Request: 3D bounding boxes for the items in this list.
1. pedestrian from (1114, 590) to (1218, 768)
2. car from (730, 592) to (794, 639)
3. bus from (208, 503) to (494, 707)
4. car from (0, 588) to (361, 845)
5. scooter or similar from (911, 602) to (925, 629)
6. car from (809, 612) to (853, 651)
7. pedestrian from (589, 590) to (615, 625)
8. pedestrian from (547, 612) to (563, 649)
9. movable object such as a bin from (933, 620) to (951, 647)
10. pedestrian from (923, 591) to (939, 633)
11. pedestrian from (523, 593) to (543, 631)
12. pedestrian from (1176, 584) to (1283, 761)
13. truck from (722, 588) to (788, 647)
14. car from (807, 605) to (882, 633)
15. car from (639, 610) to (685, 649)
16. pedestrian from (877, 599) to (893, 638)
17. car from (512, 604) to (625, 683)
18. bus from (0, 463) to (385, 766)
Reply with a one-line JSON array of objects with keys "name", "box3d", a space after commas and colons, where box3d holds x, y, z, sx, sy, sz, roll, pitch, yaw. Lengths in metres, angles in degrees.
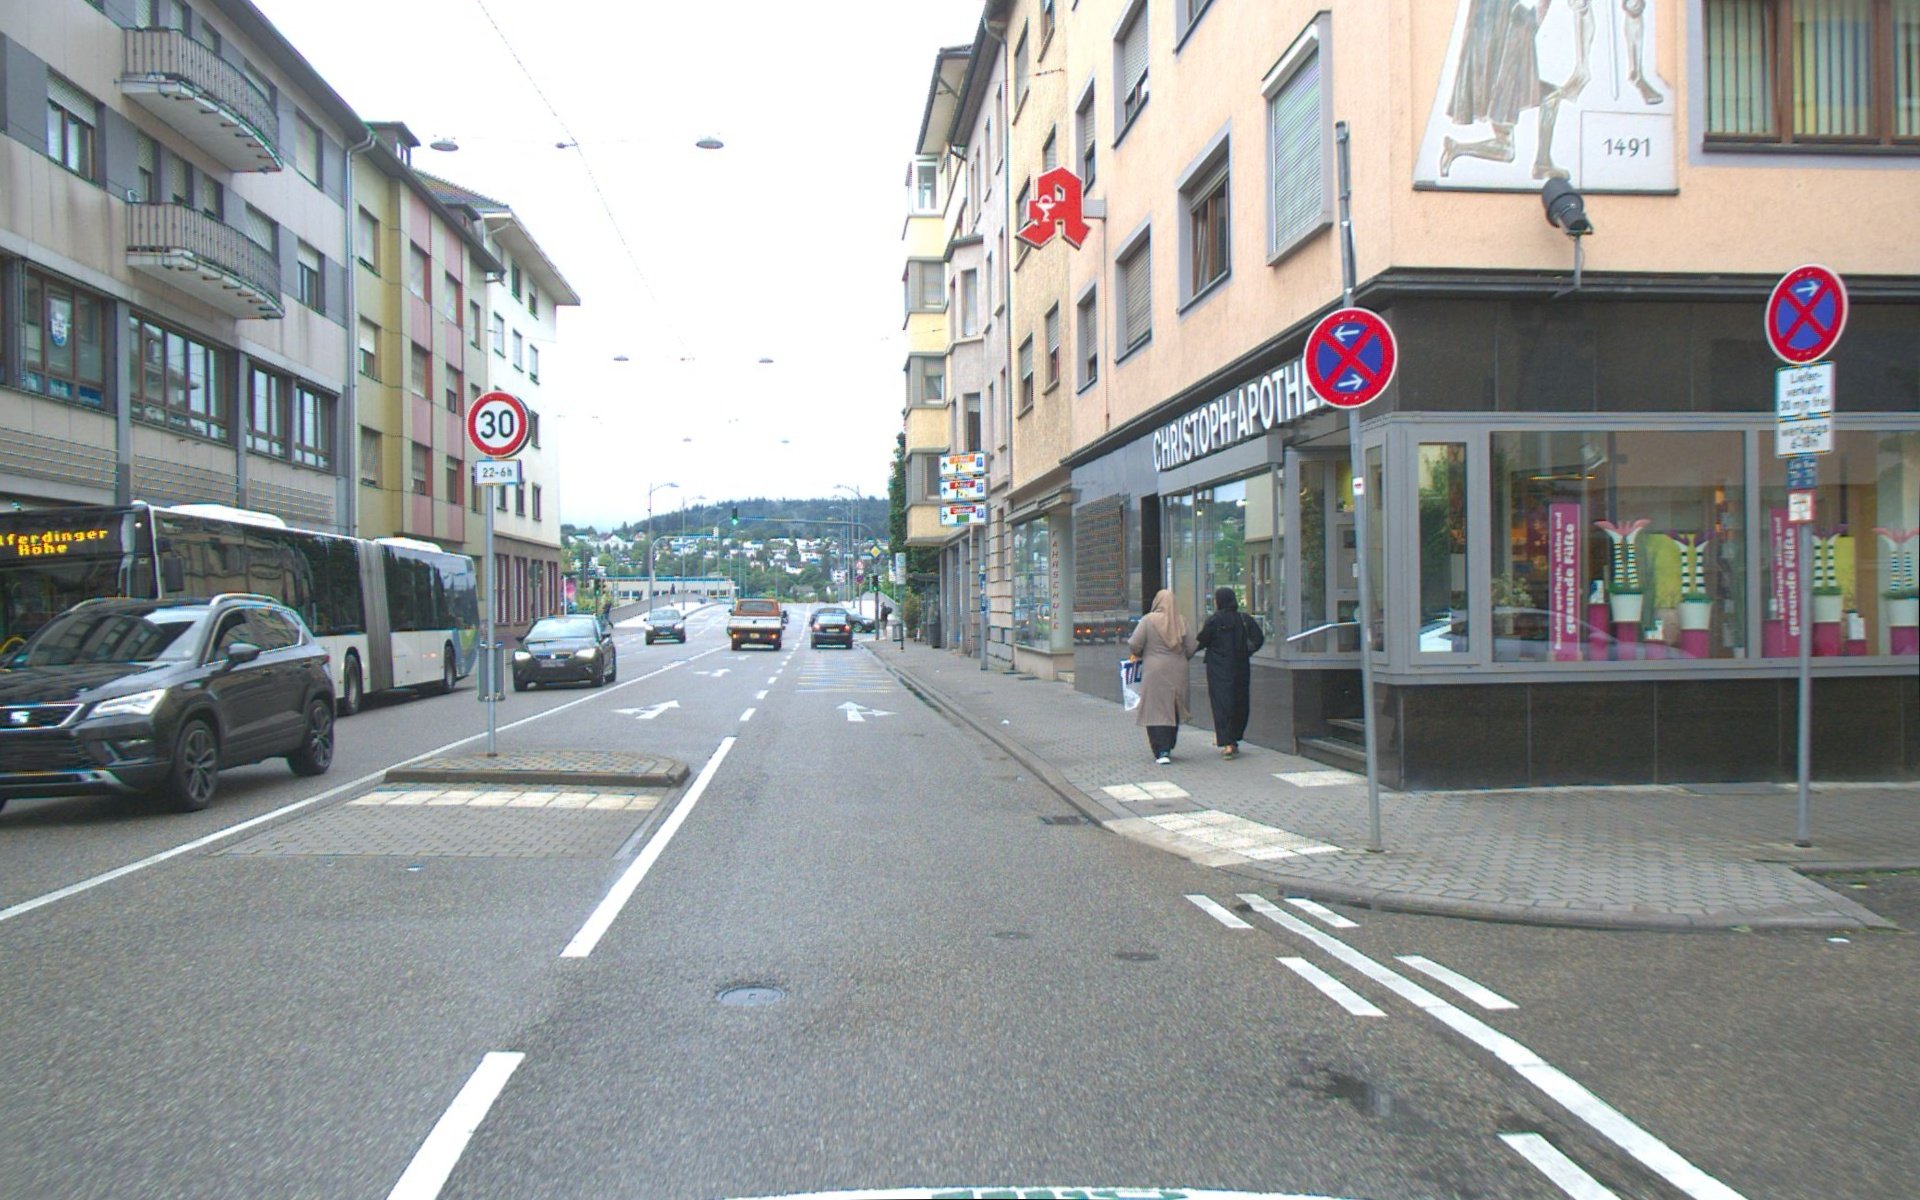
[{"name": "pedestrian", "box3d": [1.888, 0.709, 15.264, 0.763, 1.587, 0.782, -1, 0, -7]}, {"name": "car", "box3d": [-10.447, 0.816, 87.027, 1.967, 2.392, 4.972, -1, 0, -23]}, {"name": "bus", "box3d": [-11.134, 0.101, 31.346, 2.672, 3.244, 9.283, -1, 0, -5]}, {"name": "car", "box3d": [-6.421, 0.782, 13.475, 1.709, 1.691, 4.414, -1, 1, -4]}, {"name": "scooter or similar", "box3d": [-1.852, 0.676, 72.403, 0.501, 1.193, 1.547, -1, 0, -5]}, {"name": "car", "box3d": [-5.286, 1.270, 67.802, 1.720, 1.505, 3.996, -1, 0, -5]}, {"name": "pedestrian", "box3d": [-21.280, 0.455, 98.324, 0.962, 2.049, 1.174, -1, 0, 23]}, {"name": "pedestrian", "box3d": [-17.565, 1.333, 71.705, 0.564, 1.580, 0.738, -1, 0, -8]}, {"name": "movable object such as a bin", "box3d": [-0.641, 1.192, 59.602, 0.588, 0.942, 0.704, -1, 0, -5]}, {"name": "pedestrian", "box3d": [-1.179, 0.492, 67.773, 0.607, 1.729, 0.656, -1, 0, -1]}, {"name": "pedestrian", "box3d": [-18.542, 0.515, 71.845, 0.758, 1.605, 0.588, -1, 0, -6]}, {"name": "pedestrian", "box3d": [2.504, 0.660, 15.451, 0.753, 1.587, 0.875, -1, 0, -7]}, {"name": "truck", "box3d": [-7.932, 0.659, 64.492, 2.353, 2.167, 5.309, -1, 0, -5]}, {"name": "car", "box3d": [-6.825, 1.134, 97.790, 3.904, 1.579, 2.000, -1, 0, 21]}, {"name": "car", "box3d": [-14.548, 1.424, 80.929, 1.894, 1.788, 4.566, -1, 0, -7]}, {"name": "pedestrian", "box3d": [-3.625, 0.877, 79.657, 0.719, 1.873, 0.630, -1, 0, -7]}, {"name": "car", "box3d": [-7.858, 0.839, 33.525, 1.676, 1.476, 4.080, -1, 0, -6]}, {"name": "bus", "box3d": [-10.325, 0.178, 22.292, 2.705, 3.244, 8.902, -1, 0, -5]}]
